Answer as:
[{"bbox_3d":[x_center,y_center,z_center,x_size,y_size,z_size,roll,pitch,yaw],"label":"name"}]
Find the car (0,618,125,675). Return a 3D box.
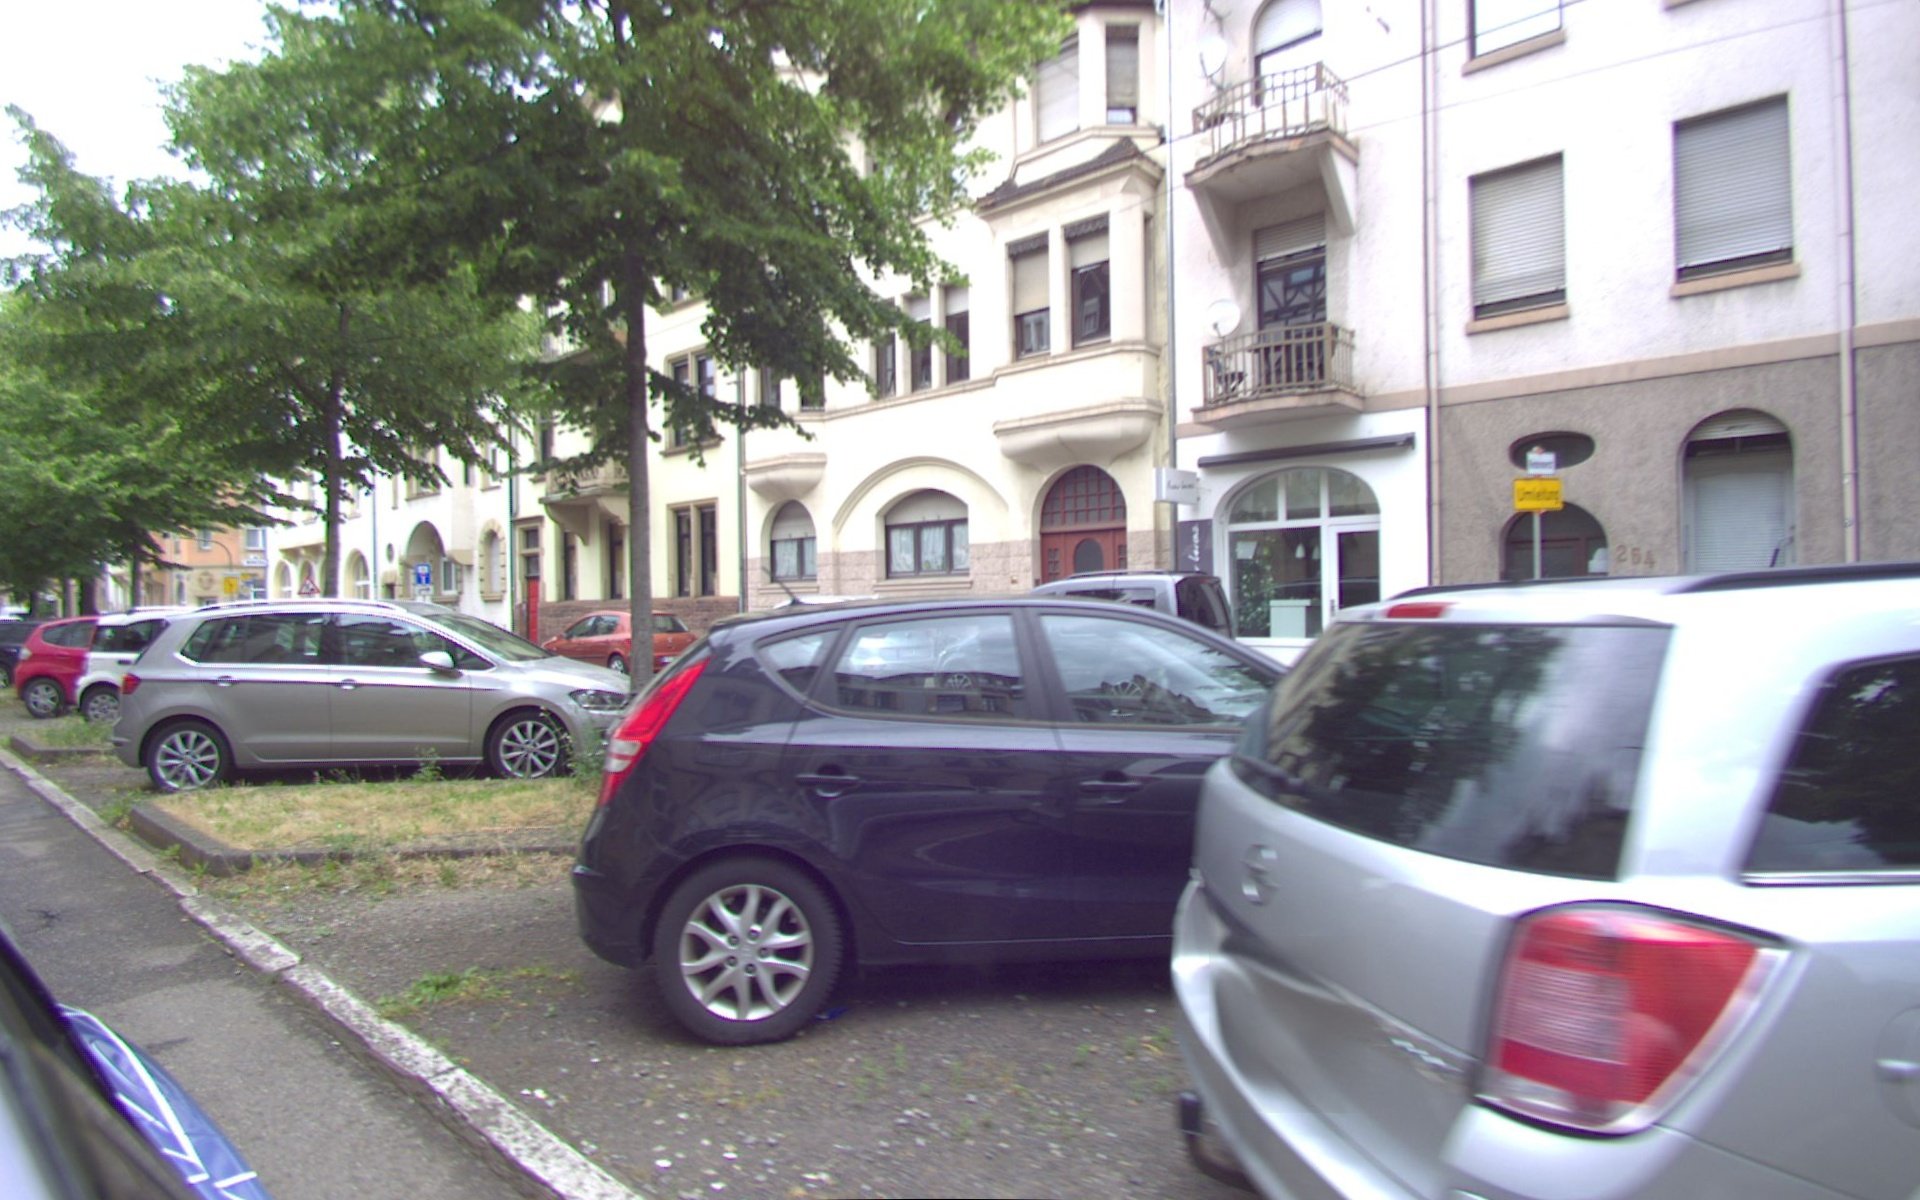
[{"bbox_3d":[-25.570,1.286,27.608,3.939,1.478,1.900,-1,-2,-5],"label":"car"}]

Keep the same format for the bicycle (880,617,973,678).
[{"bbox_3d":[-0.667,0.899,19.532,1.868,1.096,0.647,-1,0,43],"label":"bicycle"}]

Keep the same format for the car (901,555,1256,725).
[{"bbox_3d":[1.431,0.482,13.435,4.430,1.885,1.831,-2,-1,42],"label":"car"}]

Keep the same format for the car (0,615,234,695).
[{"bbox_3d":[-17.951,1.116,20.887,4.540,1.477,1.887,-1,0,-3],"label":"car"}]

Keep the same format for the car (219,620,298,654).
[{"bbox_3d":[-26.898,1.398,38.785,3.377,1.185,1.618,-1,0,40],"label":"car"}]

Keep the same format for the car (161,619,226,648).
[{"bbox_3d":[-34.581,1.500,45.626,3.377,1.185,1.618,-1,0,40],"label":"car"}]

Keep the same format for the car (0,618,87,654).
[{"bbox_3d":[-38.668,1.489,41.553,3.931,1.426,1.904,0,-2,-28],"label":"car"}]

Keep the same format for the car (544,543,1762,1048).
[{"bbox_3d":[0.624,0.606,4.149,3.940,1.496,1.777,-1,0,-3],"label":"car"}]

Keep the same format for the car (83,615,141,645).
[{"bbox_3d":[-48.381,1.702,57.712,4.509,1.617,1.773,-1,0,40],"label":"car"}]

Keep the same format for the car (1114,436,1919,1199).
[{"bbox_3d":[2.747,0.543,2.004,4.498,1.504,1.865,-1,0,-2],"label":"car"}]

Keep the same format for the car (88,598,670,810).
[{"bbox_3d":[-4.832,0.810,8.978,4.141,1.621,1.728,0,0,-7],"label":"car"}]

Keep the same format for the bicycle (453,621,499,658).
[{"bbox_3d":[-15.812,1.294,33.057,1.915,1.135,0.605,-1,2,41],"label":"bicycle"}]

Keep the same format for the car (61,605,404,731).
[{"bbox_3d":[-9.643,0.855,13.663,3.375,1.538,1.693,0,0,-6],"label":"car"}]

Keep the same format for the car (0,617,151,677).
[{"bbox_3d":[-22.926,1.182,25.432,3.681,1.399,1.791,-1,-2,-5],"label":"car"}]

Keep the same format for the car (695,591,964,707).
[{"bbox_3d":[-2.259,0.751,16.742,4.489,1.672,1.832,-1,-1,39],"label":"car"}]

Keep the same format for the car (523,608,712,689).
[{"bbox_3d":[-7.243,0.963,21.228,4.190,1.534,1.832,-1,-1,39],"label":"car"}]

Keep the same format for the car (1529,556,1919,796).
[{"bbox_3d":[7.115,0.530,8.032,4.271,1.692,1.786,-1,0,41],"label":"car"}]

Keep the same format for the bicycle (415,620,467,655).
[{"bbox_3d":[-17.780,1.289,34.676,1.908,1.135,0.607,-2,2,30],"label":"bicycle"}]

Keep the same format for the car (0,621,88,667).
[{"bbox_3d":[-31.067,1.438,32.715,3.935,1.426,1.902,-1,-2,-10],"label":"car"}]

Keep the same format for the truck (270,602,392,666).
[{"bbox_3d":[-20.799,1.078,33.314,2.120,1.870,6.067,-1,0,-45],"label":"truck"}]

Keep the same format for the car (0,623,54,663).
[{"bbox_3d":[-36.184,1.604,37.185,3.935,1.426,1.902,-1,-2,-10],"label":"car"}]

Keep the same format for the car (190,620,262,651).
[{"bbox_3d":[-30.398,1.445,41.892,3.377,1.185,1.618,-1,0,40],"label":"car"}]

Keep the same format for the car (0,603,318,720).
[{"bbox_3d":[-12.488,0.912,15.817,3.756,1.538,1.677,-3,1,-3],"label":"car"}]
